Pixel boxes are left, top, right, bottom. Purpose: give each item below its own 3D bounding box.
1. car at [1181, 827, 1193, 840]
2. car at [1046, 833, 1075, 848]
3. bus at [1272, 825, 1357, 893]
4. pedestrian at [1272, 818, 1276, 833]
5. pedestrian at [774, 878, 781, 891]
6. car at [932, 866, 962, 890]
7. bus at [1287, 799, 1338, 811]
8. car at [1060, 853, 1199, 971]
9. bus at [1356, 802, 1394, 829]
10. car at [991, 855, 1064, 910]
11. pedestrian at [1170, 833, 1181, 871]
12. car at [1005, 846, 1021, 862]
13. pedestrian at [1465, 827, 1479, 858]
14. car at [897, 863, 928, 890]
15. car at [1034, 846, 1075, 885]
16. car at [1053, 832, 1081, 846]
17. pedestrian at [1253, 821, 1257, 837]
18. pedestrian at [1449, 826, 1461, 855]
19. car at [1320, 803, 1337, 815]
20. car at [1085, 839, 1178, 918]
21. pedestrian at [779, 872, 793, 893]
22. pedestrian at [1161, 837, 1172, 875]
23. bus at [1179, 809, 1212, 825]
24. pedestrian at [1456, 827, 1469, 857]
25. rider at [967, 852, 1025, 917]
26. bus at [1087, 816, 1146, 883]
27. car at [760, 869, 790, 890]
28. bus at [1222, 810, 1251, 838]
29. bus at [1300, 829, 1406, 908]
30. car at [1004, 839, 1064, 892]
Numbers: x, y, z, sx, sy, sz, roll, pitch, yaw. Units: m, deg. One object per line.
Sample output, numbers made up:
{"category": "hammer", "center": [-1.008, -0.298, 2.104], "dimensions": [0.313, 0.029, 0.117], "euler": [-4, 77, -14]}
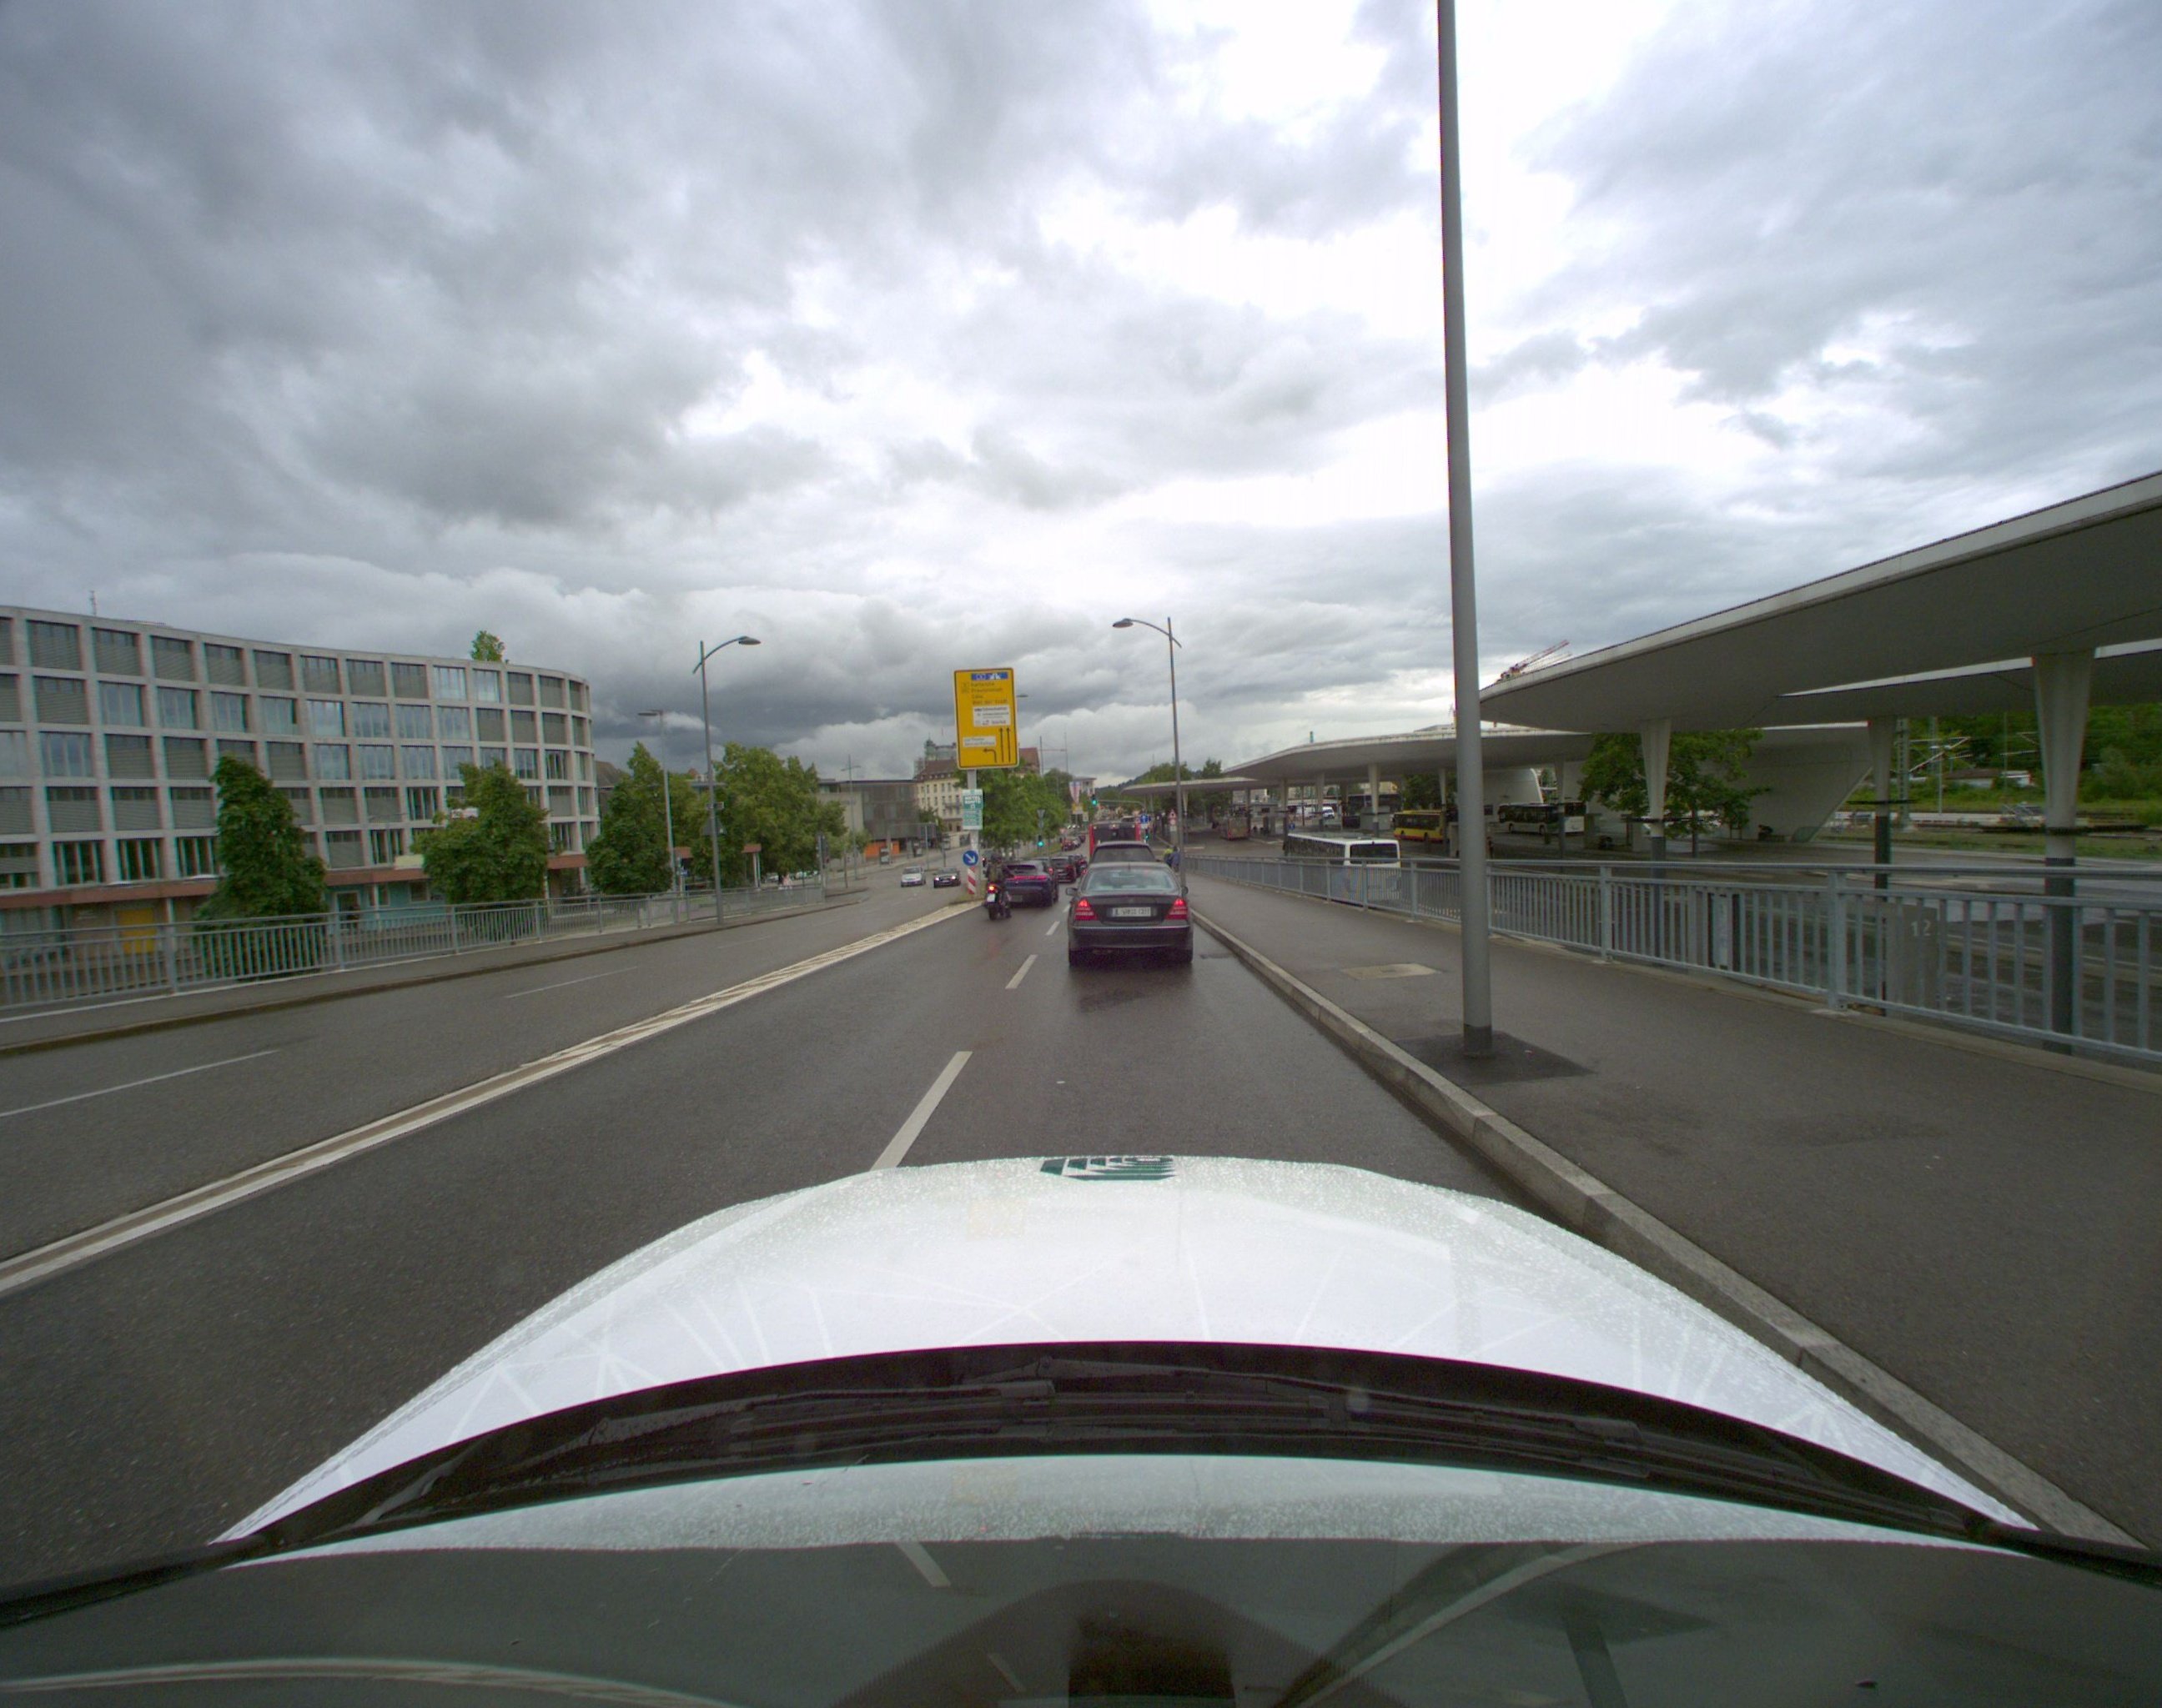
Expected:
{"category": "car", "center": [18.068, -3.541, 138.890], "dimensions": [1.982, 2.013, 4.009], "euler": [-3, 1, 8]}
{"category": "car", "center": [-2.994, -2.048, 120.514], "dimensions": [3.967, 2.013, 2.004], "euler": [-3, 1, 6]}
{"category": "bus", "center": [13.260, 0.141, 46.908], "dimensions": [2.638, 3.235, 7.070], "euler": [-3, 4, -1]}
{"category": "pedestrian", "center": [26.087, -3.824, 110.027], "dimensions": [0.422, 2.014, 0.484], "euler": [-3, -2, 4]}
{"category": "pedestrian", "center": [-21.200, 2.160, 56.831], "dimensions": [0.299, 0.873, 0.299], "euler": [-3, 2, 4]}
{"category": "car", "center": [-10.062, 1.778, 61.510], "dimensions": [1.830, 1.526, 4.586], "euler": [-3, 1, -5]}
{"category": "bus", "center": [48.374, -10.250, 170.439], "dimensions": [10.139, 2.013, 2.169], "euler": [-3, 1, -1]}
{"category": "car", "center": [0.708, 0.724, 12.015], "dimensions": [1.699, 1.419, 3.729], "euler": [-1, 0, 3]}
{"category": "bus", "center": [37.961, -4.946, 105.382], "dimensions": [2.588, 3.209, 7.003], "euler": [-3, 2, 4]}
{"category": "car", "center": [-1.559, 0.814, 25.054], "dimensions": [1.753, 1.436, 4.003], "euler": [-1, 1, 2]}
{"category": "pedestrian", "center": [5.081, -0.109, 43.760], "dimensions": [0.422, 2.014, 0.484], "euler": [-3, -2, 4]}
{"category": "car", "center": [-9.136, 0.074, 110.077], "dimensions": [1.990, 2.013, 4.195], "euler": [-3, -1, -5]}
{"category": "pedestrian", "center": [26.080, -0.747, 54.325], "dimensions": [0.558, 2.013, 0.484], "euler": [-3, 0, 4]}
{"category": "car", "center": [-14.219, 1.885, 68.769], "dimensions": [1.991, 2.013, 3.992], "euler": [-3, 0, -5]}
{"category": "car", "center": [-1.408, 0.606, 45.120], "dimensions": [1.986, 2.006, 4.002], "euler": [-1, 1, 1]}
{"category": "car", "center": [-2.185, -2.313, 126.657], "dimensions": [3.967, 2.013, 2.004], "euler": [-3, 1, 6]}
{"category": "pedestrian", "center": [23.248, -3.330, 108.897], "dimensions": [0.422, 2.013, 0.484], "euler": [-3, 0, 4]}
{"category": "pedestrian", "center": [26.789, -0.969, 58.351], "dimensions": [0.541, 2.013, 0.580], "euler": [-3, 0, 3]}
{"category": "car", "center": [48.091, -8.728, 158.389], "dimensions": [1.986, 2.013, 4.002], "euler": [-3, 2, 2]}
{"category": "car", "center": [1.308, 0.501, 19.534], "dimensions": [1.816, 1.687, 4.010], "euler": [-1, 1, 9]}
{"category": "pedestrian", "center": [-20.585, 1.997, 56.824], "dimensions": [0.645, 1.408, 0.531], "euler": [-3, 2, 4]}
{"category": "pedestrian", "center": [4.605, 0.131, 43.902], "dimensions": [0.487, 2.014, 0.470], "euler": [-3, -2, 4]}
{"category": "bus", "center": [27.035, -8.680, 192.006], "dimensions": [7.179, 3.396, 3.080], "euler": [-3, 2, -2]}
{"category": "pedestrian", "center": [26.593, -0.841, 56.749], "dimensions": [0.541, 2.013, 0.580], "euler": [-3, 0, 3]}
{"category": "rider", "center": [-2.035, 0.698, 19.923], "dimensions": [0.876, 1.472, 2.201], "euler": [-1, 1, 8]}
{"category": "bus", "center": [1.921, -0.260, 45.043], "dimensions": [2.816, 3.189, 10.314], "euler": [-2, 0, 2]}
{"category": "car", "center": [-32.007, 2.642, 85.085], "dimensions": [2.008, 2.013, 3.958], "euler": [1, 1, -35]}
{"category": "bus", "center": [21.571, -4.079, 113.378], "dimensions": [3.161, 3.600, 10.531], "euler": [-3, 1, 7]}
{"category": "bus", "center": [13.031, 0.533, 39.763], "dimensions": [2.639, 3.235, 7.070], "euler": [0, 4, -1]}
{"category": "car", "center": [-1.863, 0.418, 33.716], "dimensions": [1.985, 2.006, 4.003], "euler": [-1, 1, 3]}
